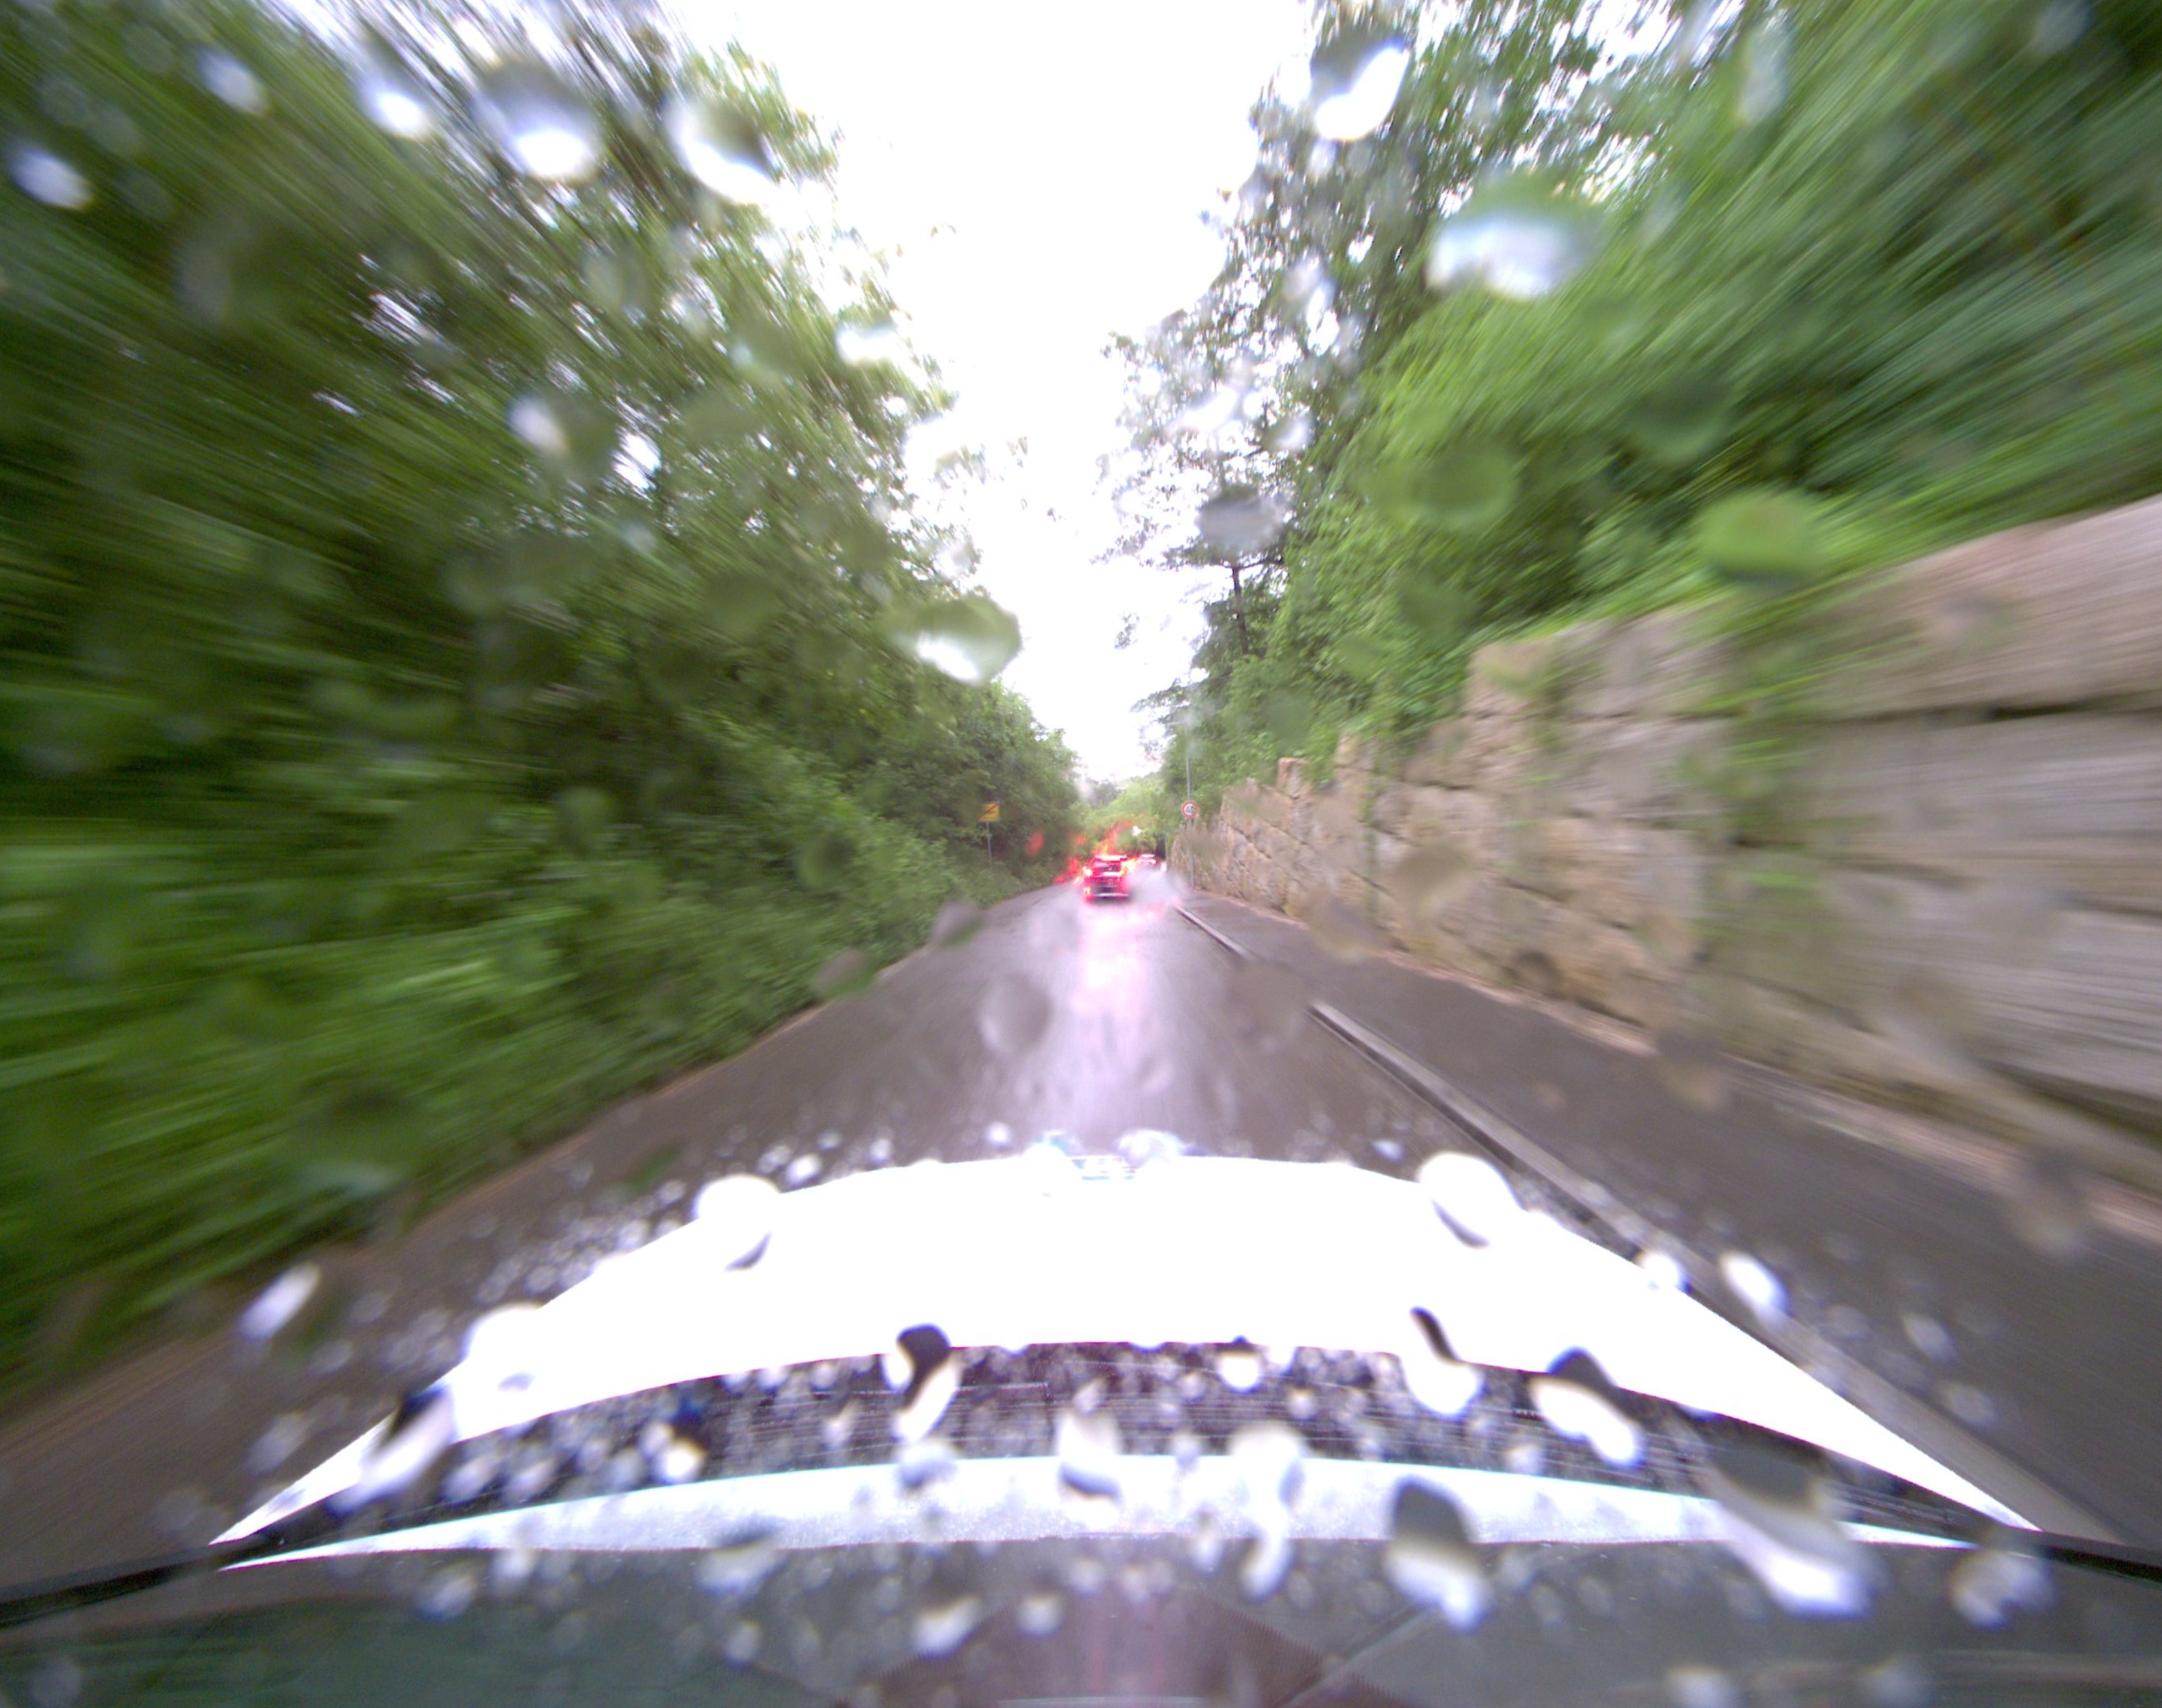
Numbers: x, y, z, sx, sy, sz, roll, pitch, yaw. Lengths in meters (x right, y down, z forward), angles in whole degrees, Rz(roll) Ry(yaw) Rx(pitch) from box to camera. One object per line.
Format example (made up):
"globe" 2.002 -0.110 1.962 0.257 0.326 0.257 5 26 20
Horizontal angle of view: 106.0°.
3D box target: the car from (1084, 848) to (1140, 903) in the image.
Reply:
"car" 0.992 0.673 27.905 1.694 1.450 4.001 -2 3 0

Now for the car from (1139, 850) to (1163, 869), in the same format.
"car" 6.706 0.497 77.488 1.851 1.743 4.012 0 0 11
